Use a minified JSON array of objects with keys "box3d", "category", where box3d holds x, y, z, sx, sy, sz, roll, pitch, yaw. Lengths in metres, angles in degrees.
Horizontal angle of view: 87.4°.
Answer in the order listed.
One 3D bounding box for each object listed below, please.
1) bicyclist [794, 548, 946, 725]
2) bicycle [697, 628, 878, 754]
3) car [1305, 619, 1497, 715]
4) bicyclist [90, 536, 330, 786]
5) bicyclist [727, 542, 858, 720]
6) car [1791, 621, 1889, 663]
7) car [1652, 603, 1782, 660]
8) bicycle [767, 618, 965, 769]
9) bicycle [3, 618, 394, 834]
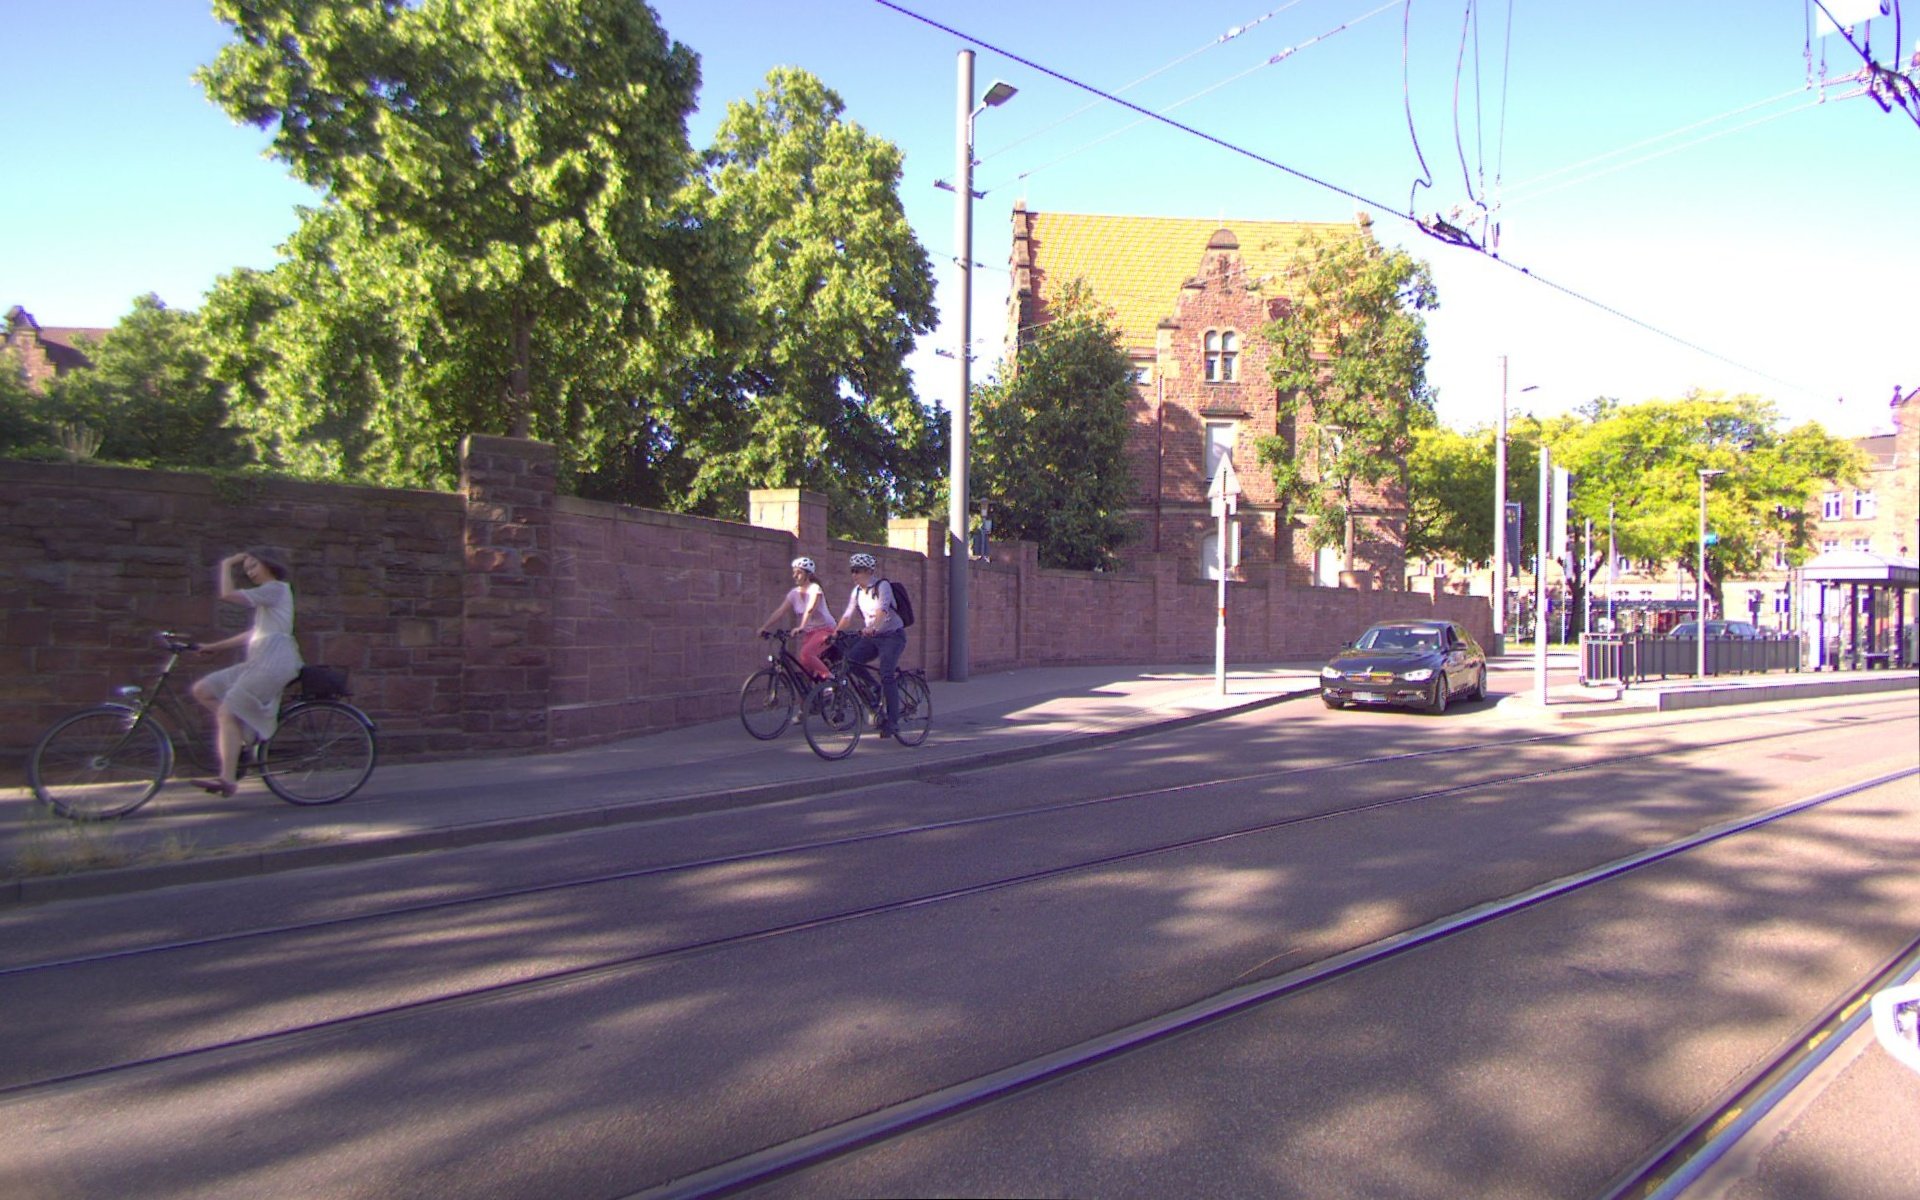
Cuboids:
[{"box3d":[-0.838,0.320,9.634,0.749,1.557,1.345,3,1,31],"category":"bicyclist"},{"box3d":[-1.697,0.864,10.242,0.659,1.087,2.010,2,1,31],"category":"bicycle"},{"box3d":[7.498,1.030,16.840,1.777,1.400,4.474,-2,-2,40],"category":"car"},{"box3d":[-4.882,0.373,6.627,1.178,1.490,0.752,2,0,-34],"category":"bicyclist"},{"box3d":[-1.683,0.301,10.253,0.641,1.696,1.230,2,0,31],"category":"bicyclist"},{"box3d":[33.455,1.614,38.148,4.284,1.465,1.815,2,-1,-35],"category":"car"},{"box3d":[23.362,0.985,30.963,4.281,1.638,1.816,2,-1,-33],"category":"car"},{"box3d":[-0.836,0.821,9.663,0.766,1.247,2.084,3,0,31],"category":"bicycle"},{"box3d":[-4.886,0.750,6.626,1.933,1.214,0.810,2,0,-35],"category":"bicycle"}]
